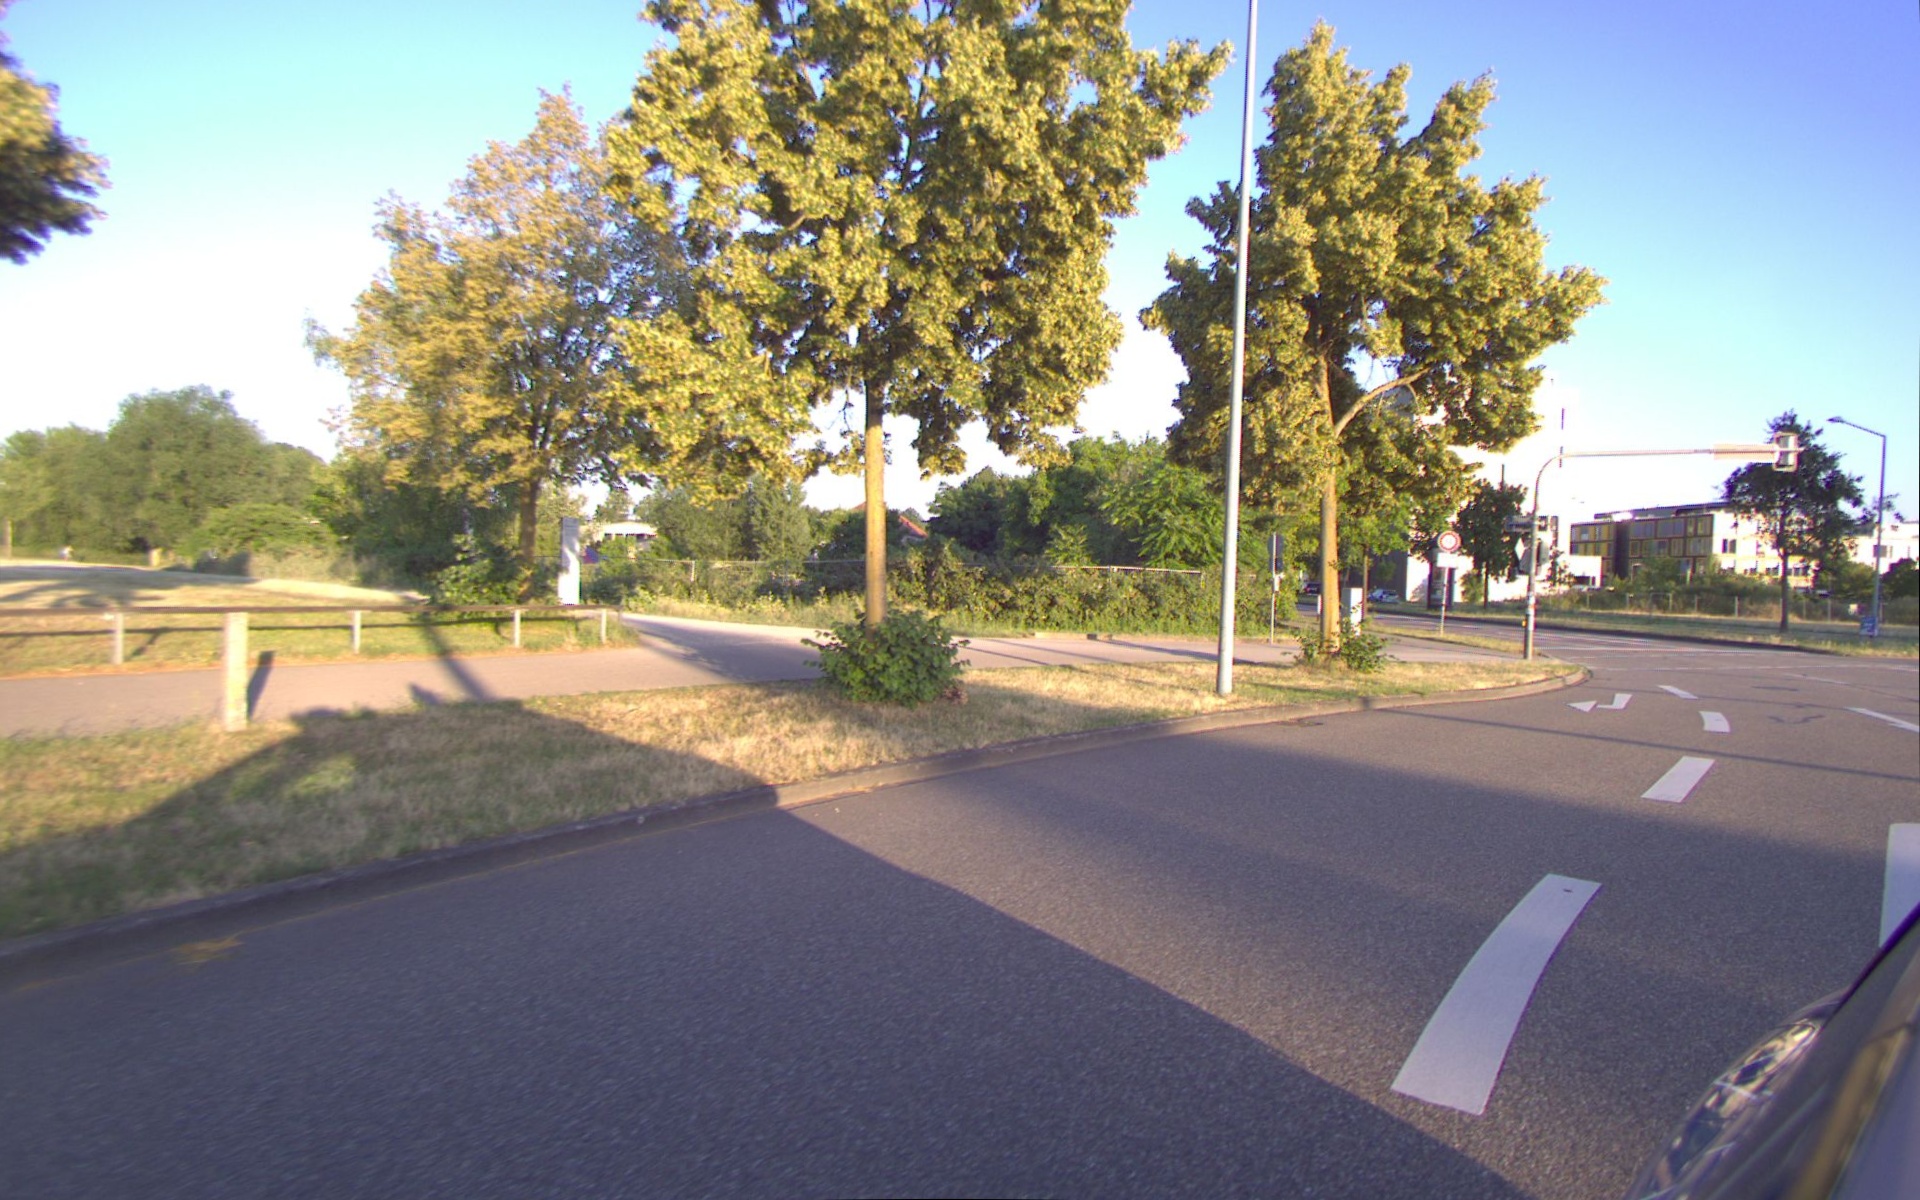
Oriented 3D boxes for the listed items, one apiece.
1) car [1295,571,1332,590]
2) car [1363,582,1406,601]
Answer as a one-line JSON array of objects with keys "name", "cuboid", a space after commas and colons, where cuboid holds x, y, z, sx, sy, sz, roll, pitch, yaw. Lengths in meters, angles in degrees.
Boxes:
[{"name": "car", "cuboid": [34.026, -1.879, 97.531, 1.961, 1.772, 4.133, 2, 1, -2]}, {"name": "car", "cuboid": [37.926, -0.795, 90.450, 1.961, 1.566, 4.133, 2, 1, -2]}]
